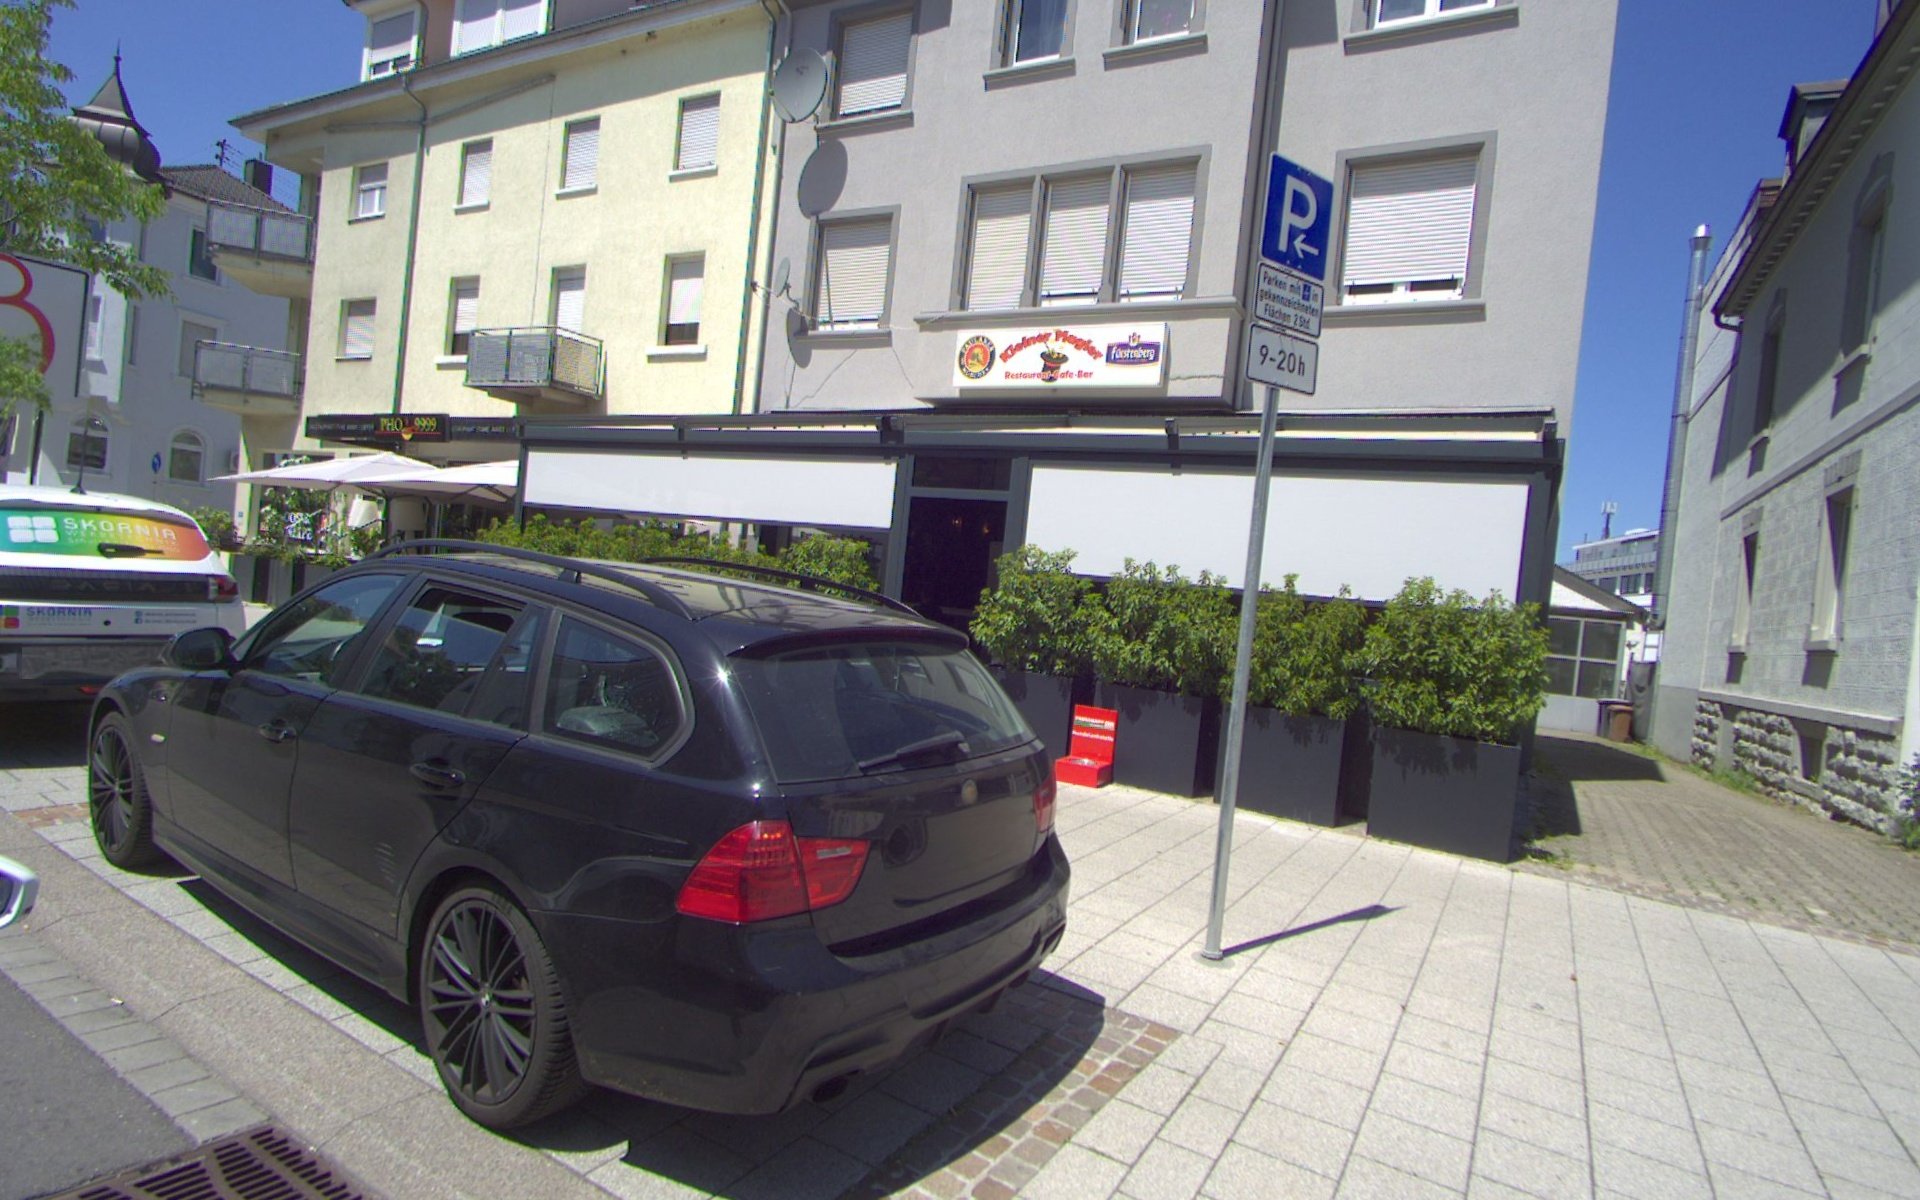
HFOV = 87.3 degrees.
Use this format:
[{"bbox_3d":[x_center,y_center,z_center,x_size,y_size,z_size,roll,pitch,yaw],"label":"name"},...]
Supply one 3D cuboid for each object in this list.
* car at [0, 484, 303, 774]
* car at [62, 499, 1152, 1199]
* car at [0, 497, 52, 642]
[{"bbox_3d":[-6.257,0.006,6.802,3.992,1.506,1.735,6,2,37],"label":"car"},{"bbox_3d":[-1.570,0.508,3.806,4.031,1.502,1.831,5,2,35],"label":"car"},{"bbox_3d":[-11.619,-0.515,10.841,4.536,1.423,1.723,6,1,35],"label":"car"}]
